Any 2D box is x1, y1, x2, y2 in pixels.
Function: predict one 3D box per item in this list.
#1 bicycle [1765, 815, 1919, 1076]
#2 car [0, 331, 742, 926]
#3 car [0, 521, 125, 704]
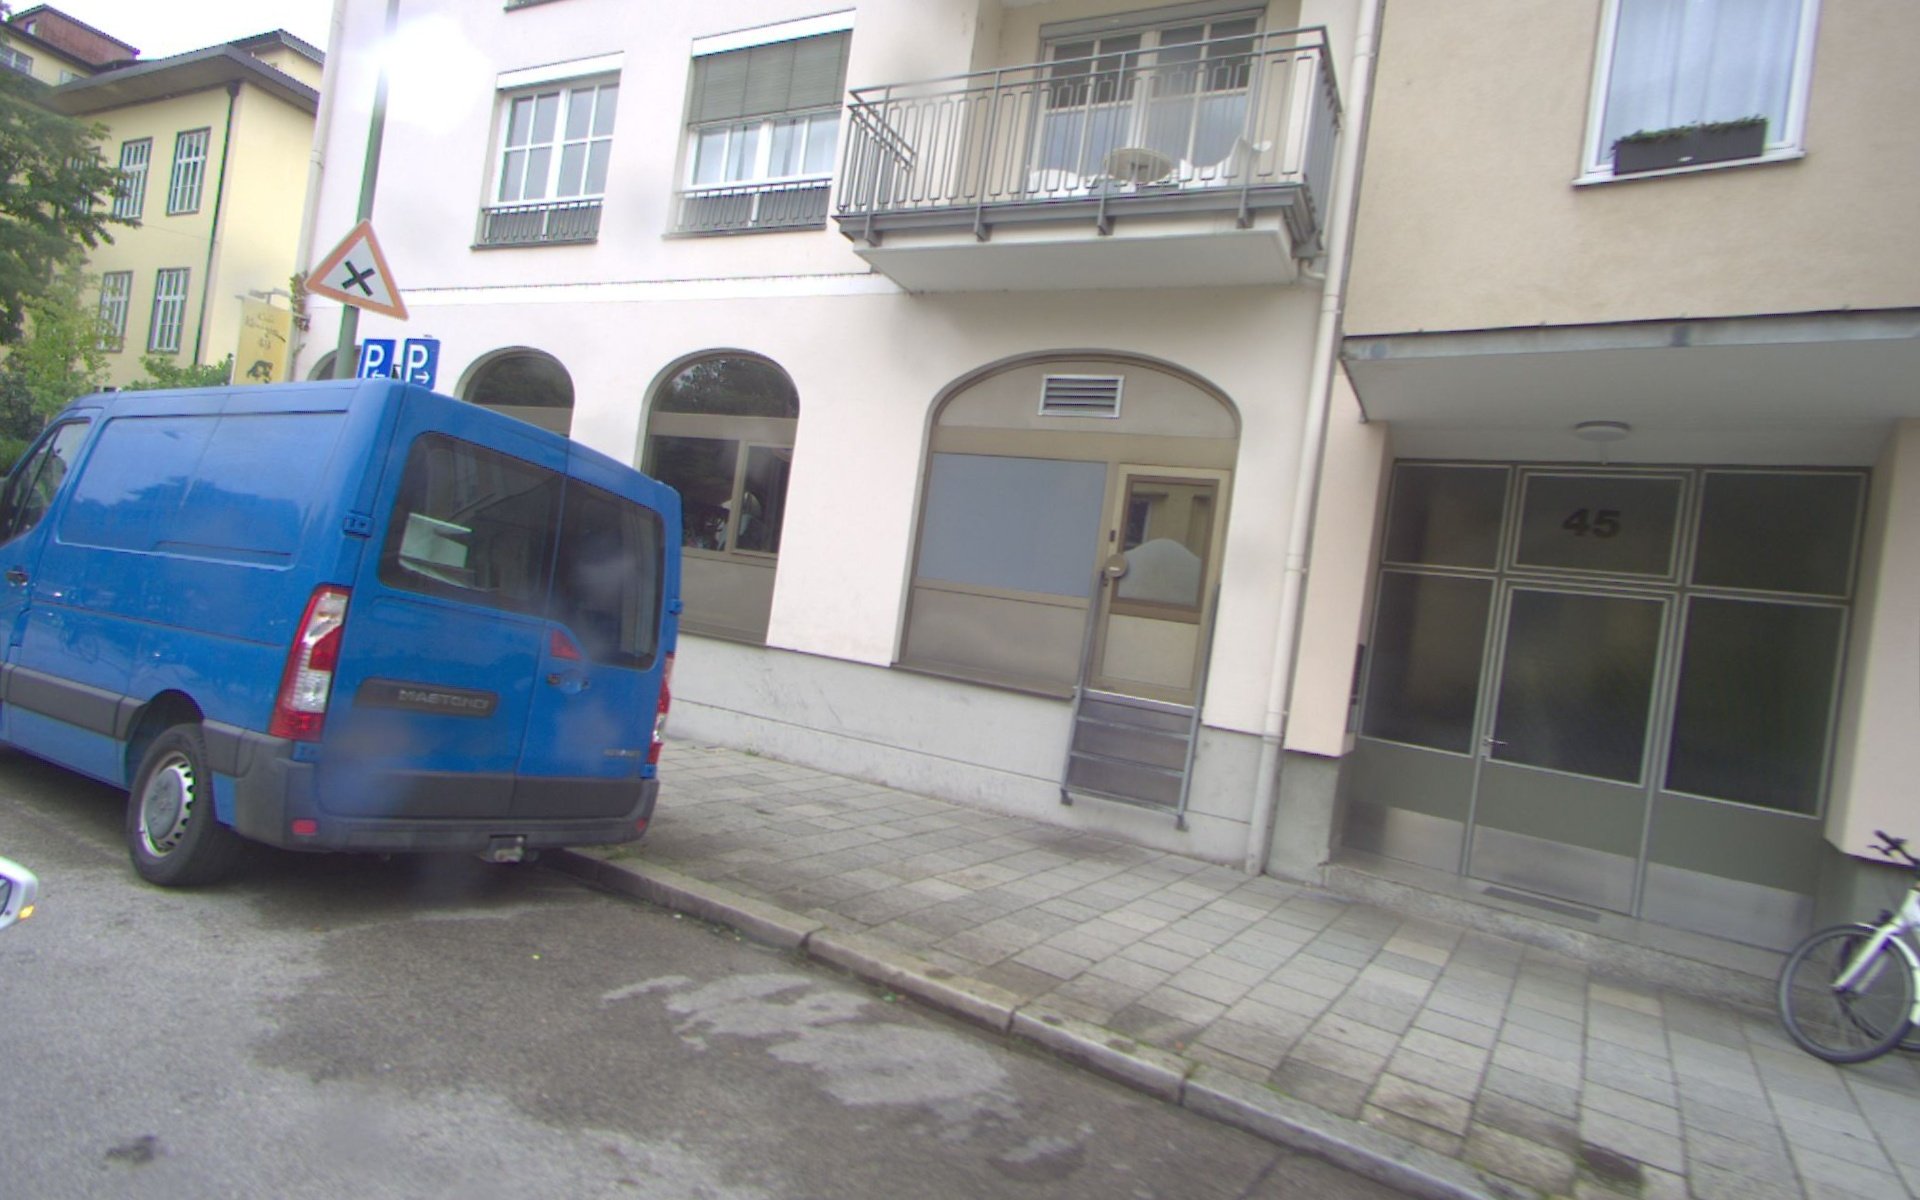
[{"bbox_3d":[5.180,1.823,4.900,1.824,1.123,0.455,7,-1,34],"label":"bicycle"},{"bbox_3d":[-4.104,0.031,5.962,5.156,2.255,2.087,6,-6,30],"label":"car"},{"bbox_3d":[-9.575,-0.188,8.757,4.227,1.403,1.685,8,-5,24],"label":"car"}]
